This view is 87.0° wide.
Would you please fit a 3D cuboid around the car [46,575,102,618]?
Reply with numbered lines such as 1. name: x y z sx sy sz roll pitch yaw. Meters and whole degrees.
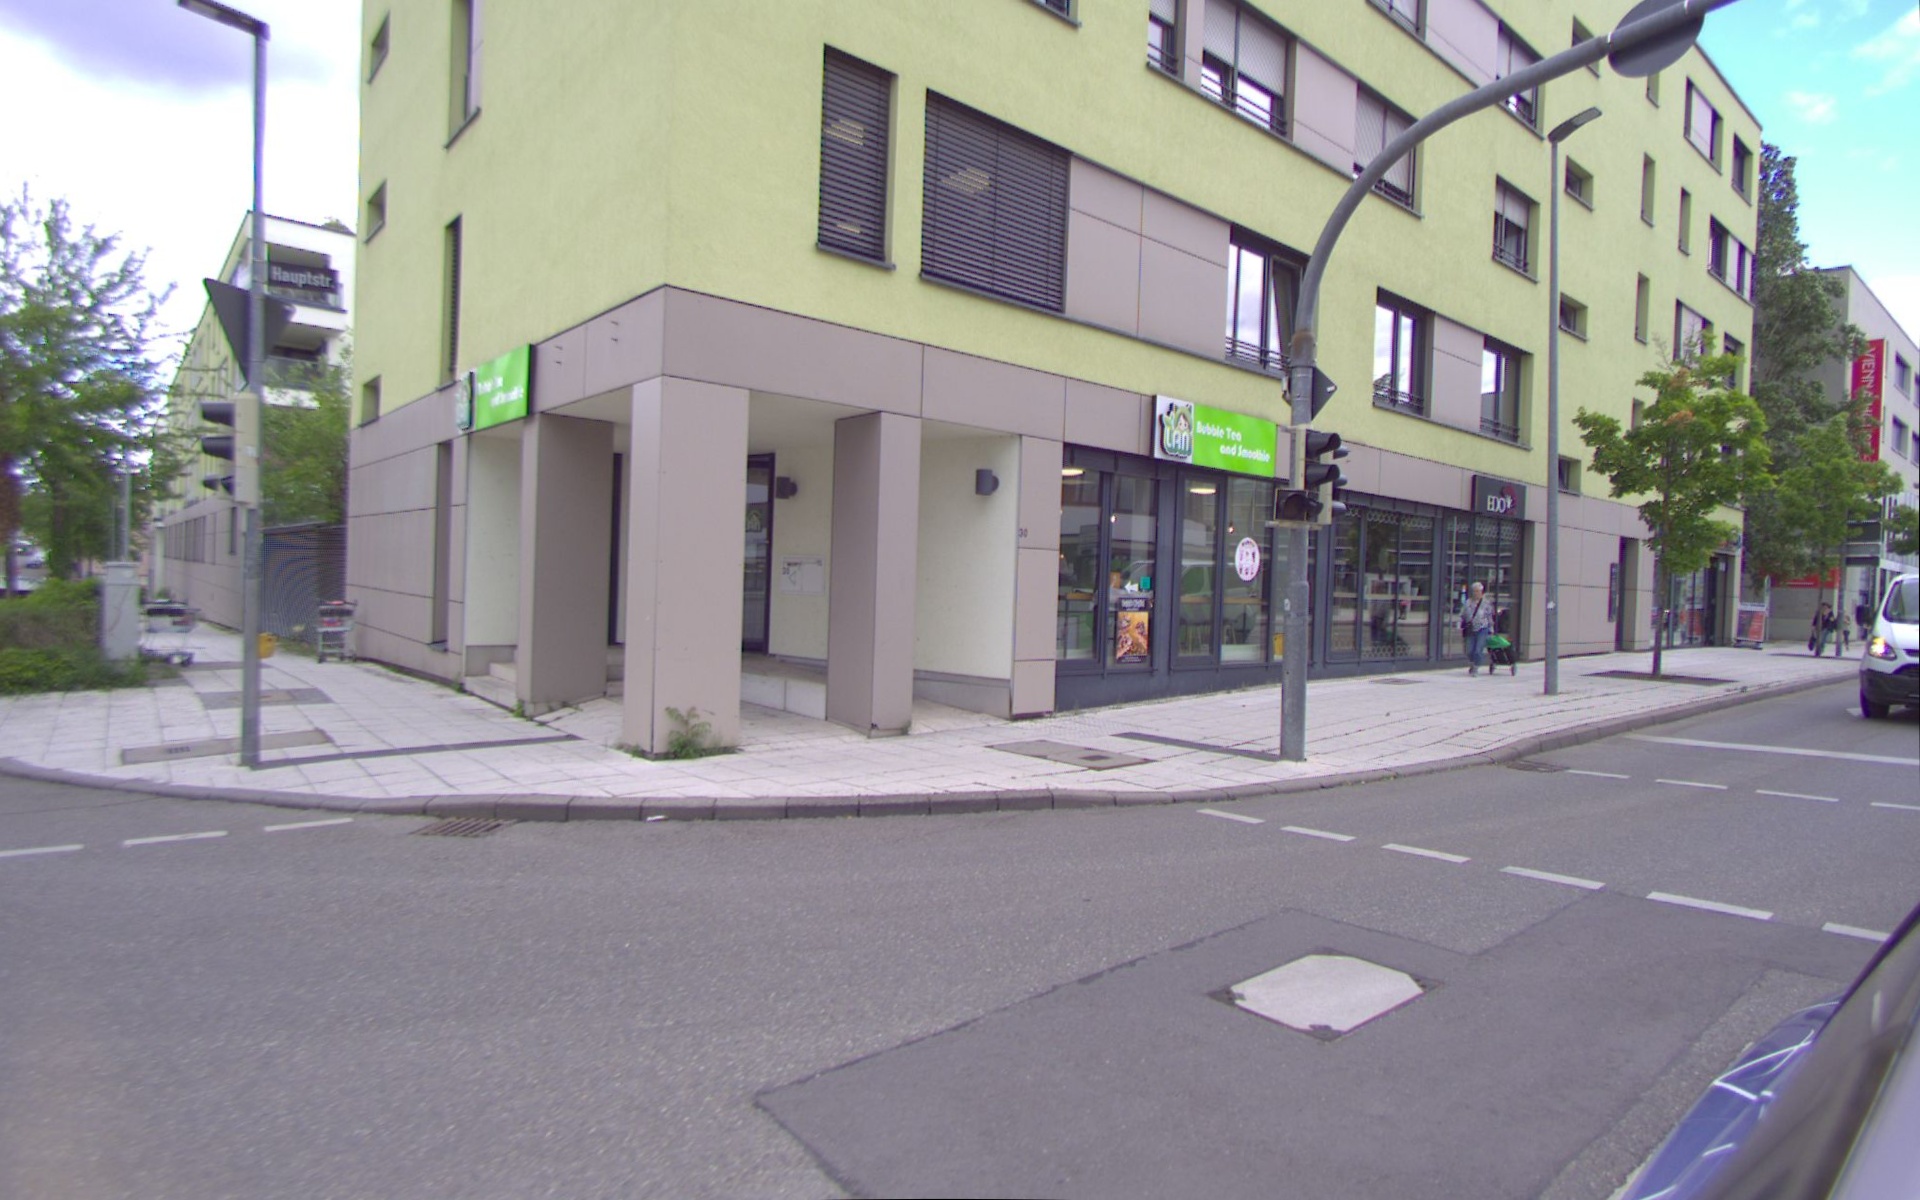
1. car: -42.976 -0.154 49.170 1.935 2.003 4.418 1 0 -40

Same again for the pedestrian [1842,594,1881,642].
1. pedestrian: 31.460 0.616 35.332 0.790 1.603 0.870 1 1 -40

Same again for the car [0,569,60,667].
1. car: -17.722 0.285 18.457 1.936 1.636 4.416 1 0 -42

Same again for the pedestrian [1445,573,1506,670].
1. pedestrian: 8.919 0.358 17.503 0.592 1.613 0.697 1 2 -40

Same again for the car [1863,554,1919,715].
1. car: 14.185 0.454 13.763 4.908 2.013 2.000 1 0 -38

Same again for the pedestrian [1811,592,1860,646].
1. pedestrian: 27.102 0.585 31.322 0.998 1.603 0.949 1 1 -40

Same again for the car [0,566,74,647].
1. car: -21.347 0.117 22.865 1.936 1.682 4.416 1 0 -42

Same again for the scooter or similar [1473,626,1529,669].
1. scooter or similar: 9.540 0.829 17.845 0.809 0.681 0.593 1 2 -41
